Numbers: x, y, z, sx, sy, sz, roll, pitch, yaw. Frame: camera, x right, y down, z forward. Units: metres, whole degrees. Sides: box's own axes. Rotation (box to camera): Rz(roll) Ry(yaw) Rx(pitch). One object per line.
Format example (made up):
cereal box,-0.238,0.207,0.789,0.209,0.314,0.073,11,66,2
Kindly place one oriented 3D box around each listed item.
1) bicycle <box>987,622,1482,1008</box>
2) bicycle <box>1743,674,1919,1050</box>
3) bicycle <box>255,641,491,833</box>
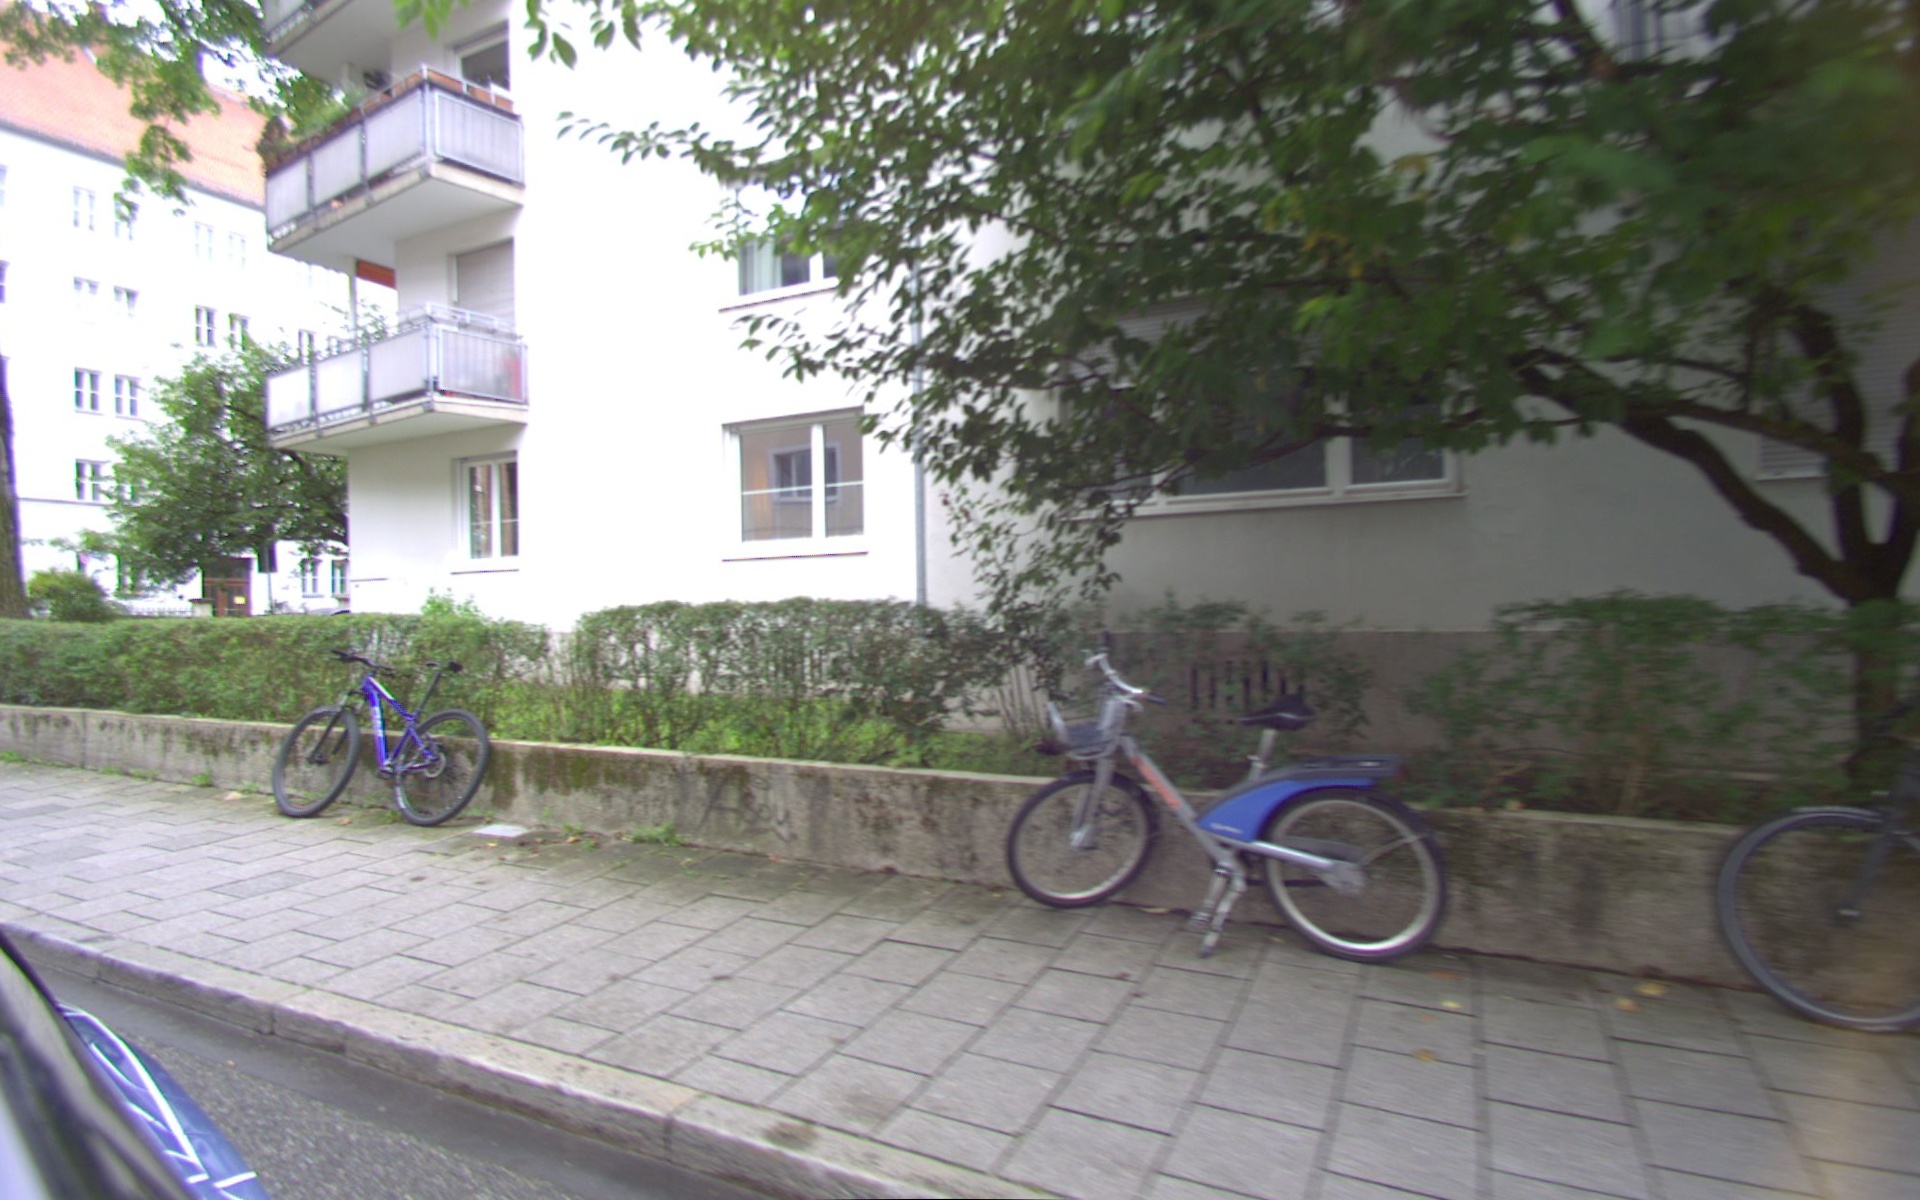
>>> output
bicycle,0.976,0.683,3.746,1.691,1.160,0.485,0,3,29
bicycle,3.206,0.739,2.717,1.691,0.986,0.433,0,3,29
bicycle,-3.754,0.823,6.424,1.771,1.079,0.345,-2,3,28
